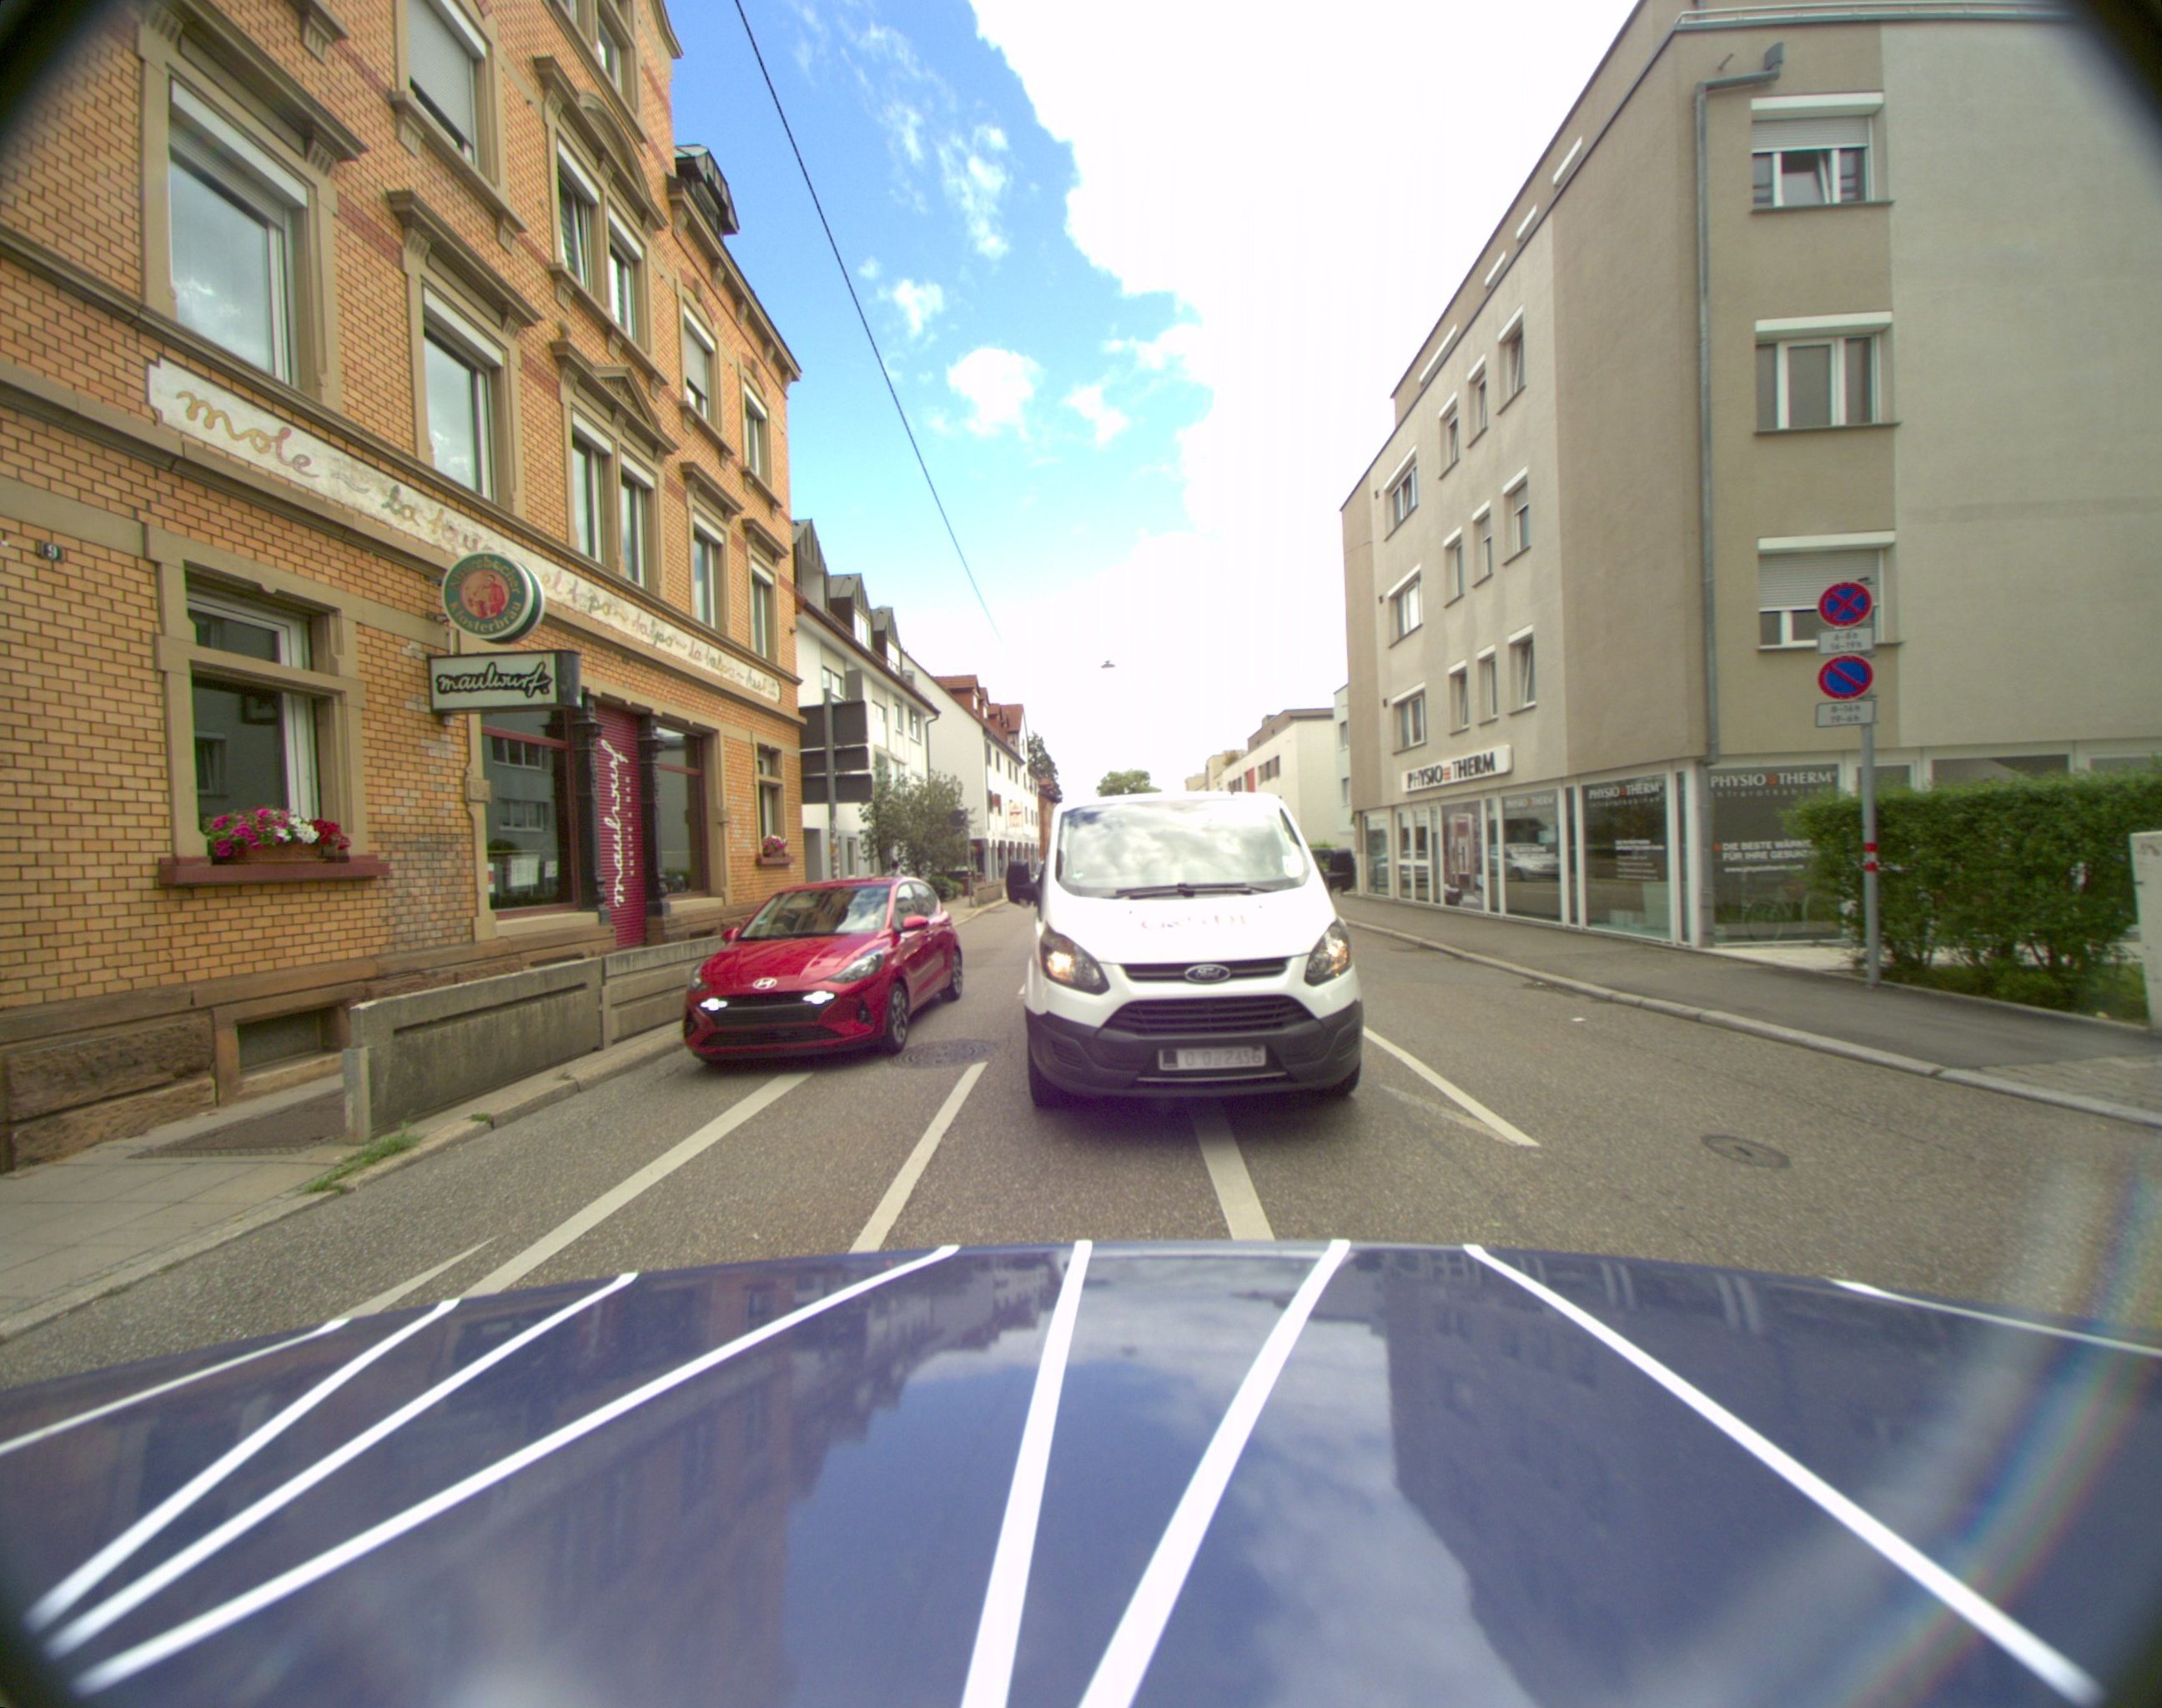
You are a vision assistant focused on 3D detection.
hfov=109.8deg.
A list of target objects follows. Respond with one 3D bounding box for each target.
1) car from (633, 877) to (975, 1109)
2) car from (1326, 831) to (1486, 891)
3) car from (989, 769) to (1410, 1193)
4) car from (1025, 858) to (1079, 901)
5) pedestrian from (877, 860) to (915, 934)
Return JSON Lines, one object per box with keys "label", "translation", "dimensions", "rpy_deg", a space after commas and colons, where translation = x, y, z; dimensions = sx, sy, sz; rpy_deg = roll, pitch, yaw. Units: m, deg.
{"label": "car", "translation": [-2.312, 1.087, 7.566], "dimensions": [1.702, 1.444, 4.000], "rpy_deg": [-4, 0, 2]}
{"label": "car", "translation": [11.976, 0.242, 28.274], "dimensions": [5.082, 1.986, 1.967], "rpy_deg": [-2, 0, 4]}
{"label": "car", "translation": [0.589, 0.614, 6.204], "dimensions": [1.965, 1.986, 5.087], "rpy_deg": [-2, 0, 0]}
{"label": "car", "translation": [-1.172, 1.037, 32.555], "dimensions": [1.998, 1.537, 4.570], "rpy_deg": [-4, 0, 0]}
{"label": "pedestrian", "translation": [-4.473, 1.030, 18.399], "dimensions": [0.690, 1.721, 0.650], "rpy_deg": [-2, 1, 0]}
